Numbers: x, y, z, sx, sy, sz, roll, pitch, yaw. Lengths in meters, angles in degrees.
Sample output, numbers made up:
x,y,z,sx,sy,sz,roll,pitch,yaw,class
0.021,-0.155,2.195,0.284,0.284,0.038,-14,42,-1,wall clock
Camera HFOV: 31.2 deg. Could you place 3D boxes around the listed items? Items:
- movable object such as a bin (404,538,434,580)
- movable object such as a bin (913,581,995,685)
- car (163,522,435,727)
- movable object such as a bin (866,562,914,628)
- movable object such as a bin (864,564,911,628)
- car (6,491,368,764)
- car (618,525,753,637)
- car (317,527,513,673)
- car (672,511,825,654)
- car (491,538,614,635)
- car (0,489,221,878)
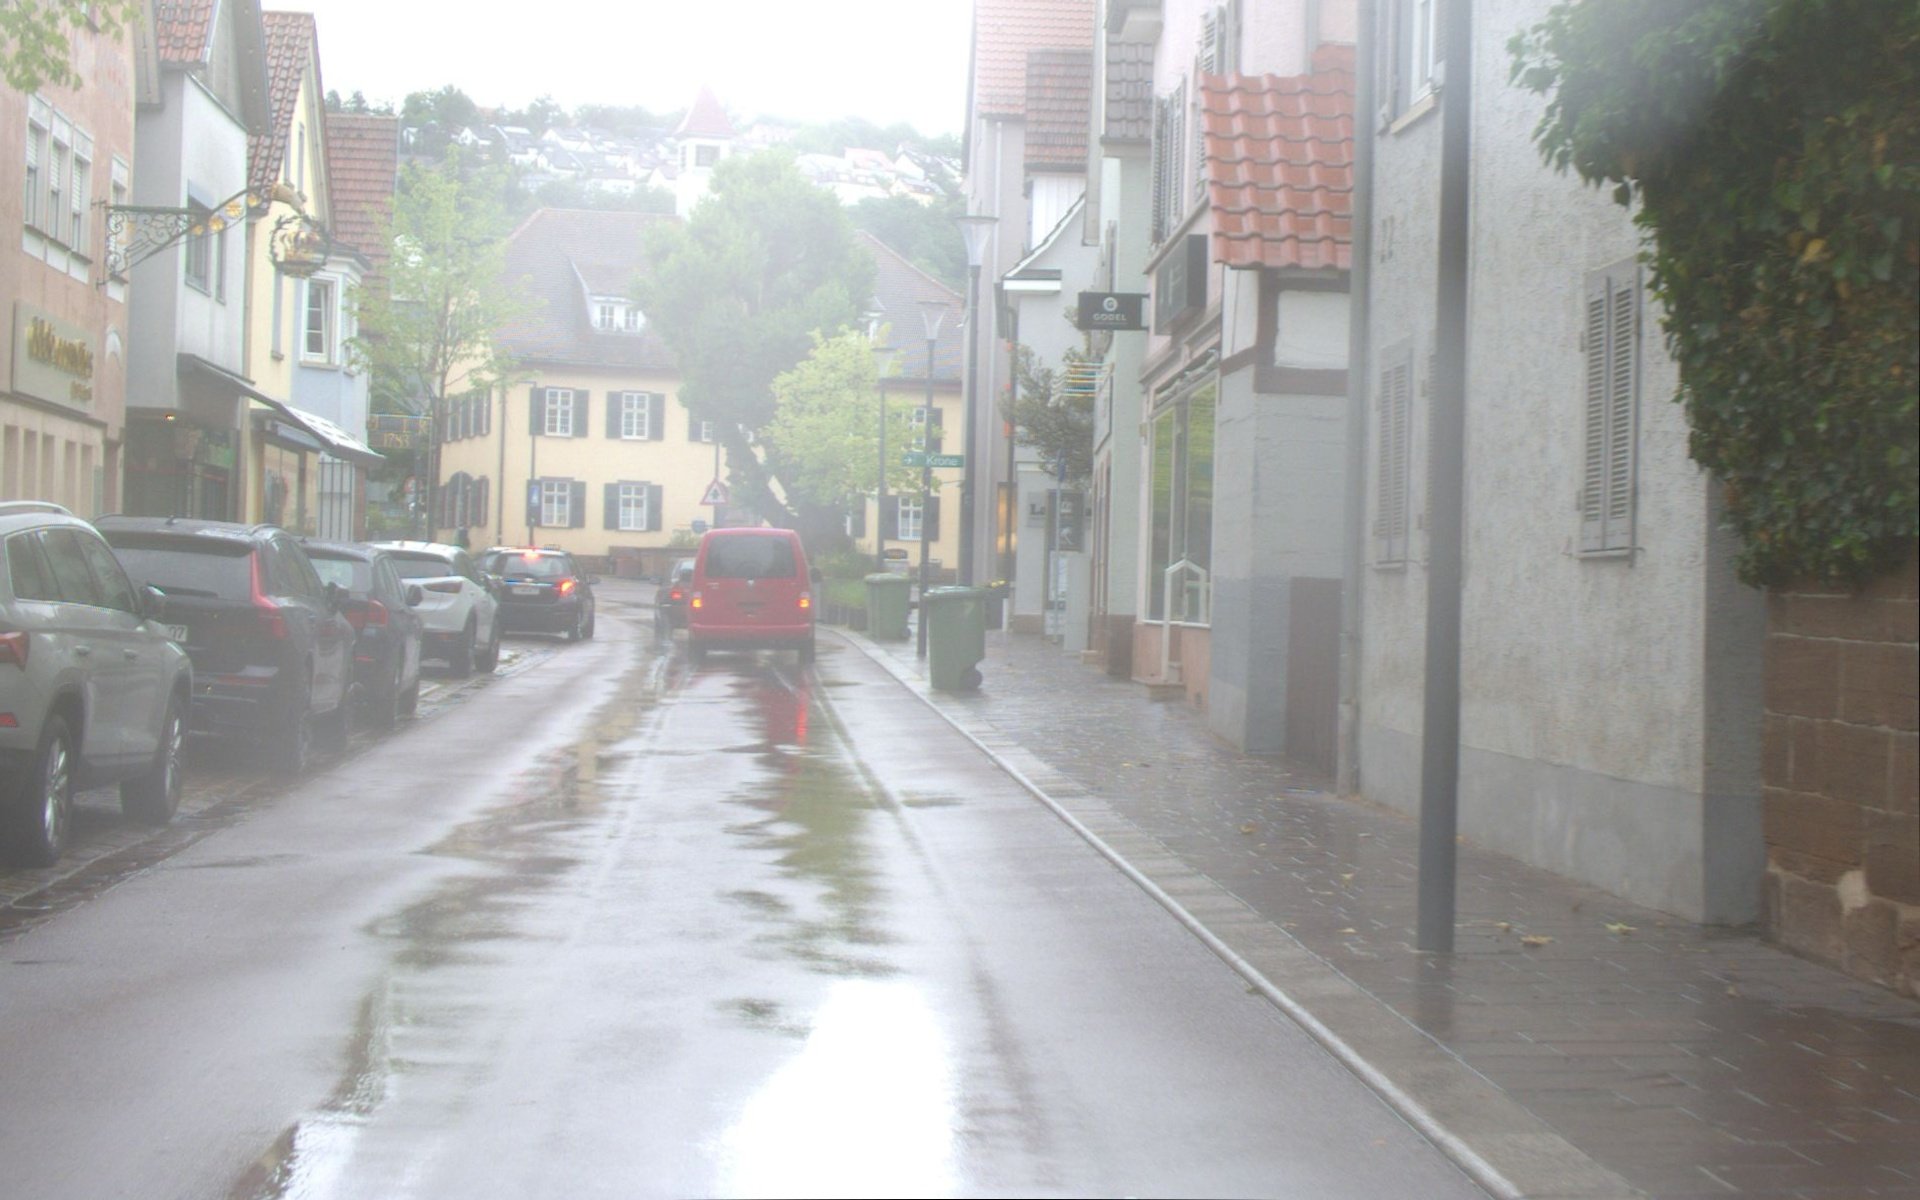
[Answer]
x,y,z,sx,sy,sz,roll,pitch,yaw,class
-14.567,-1.108,92.619,0.714,1.102,0.600,2,-1,-13,movable object such as a bin
-0.069,0.351,36.443,0.792,1.077,0.615,1,0,-6,movable object such as a bin
-5.681,0.153,30.003,1.779,1.533,4.291,3,2,-4,car
-1.187,-0.078,58.156,0.768,1.076,0.599,2,-1,-2,movable object such as a bin
-1.246,-0.067,58.791,0.754,1.060,0.600,2,-1,-2,movable object such as a bin
-5.301,0.192,24.132,1.824,1.660,4.643,2,-1,-5,car
-4.776,-0.305,59.334,1.993,1.793,4.001,2,-1,-8,car
-6.409,-0.043,40.789,1.691,1.533,4.121,3,2,-1,car
-2.910,-0.286,47.998,1.894,1.805,4.001,3,2,-1,car
-6.754,-0.252,57.301,1.691,1.438,3.885,2,2,-2,car
-5.004,0.344,17.032,1.824,1.660,4.643,2,-1,-3,car
